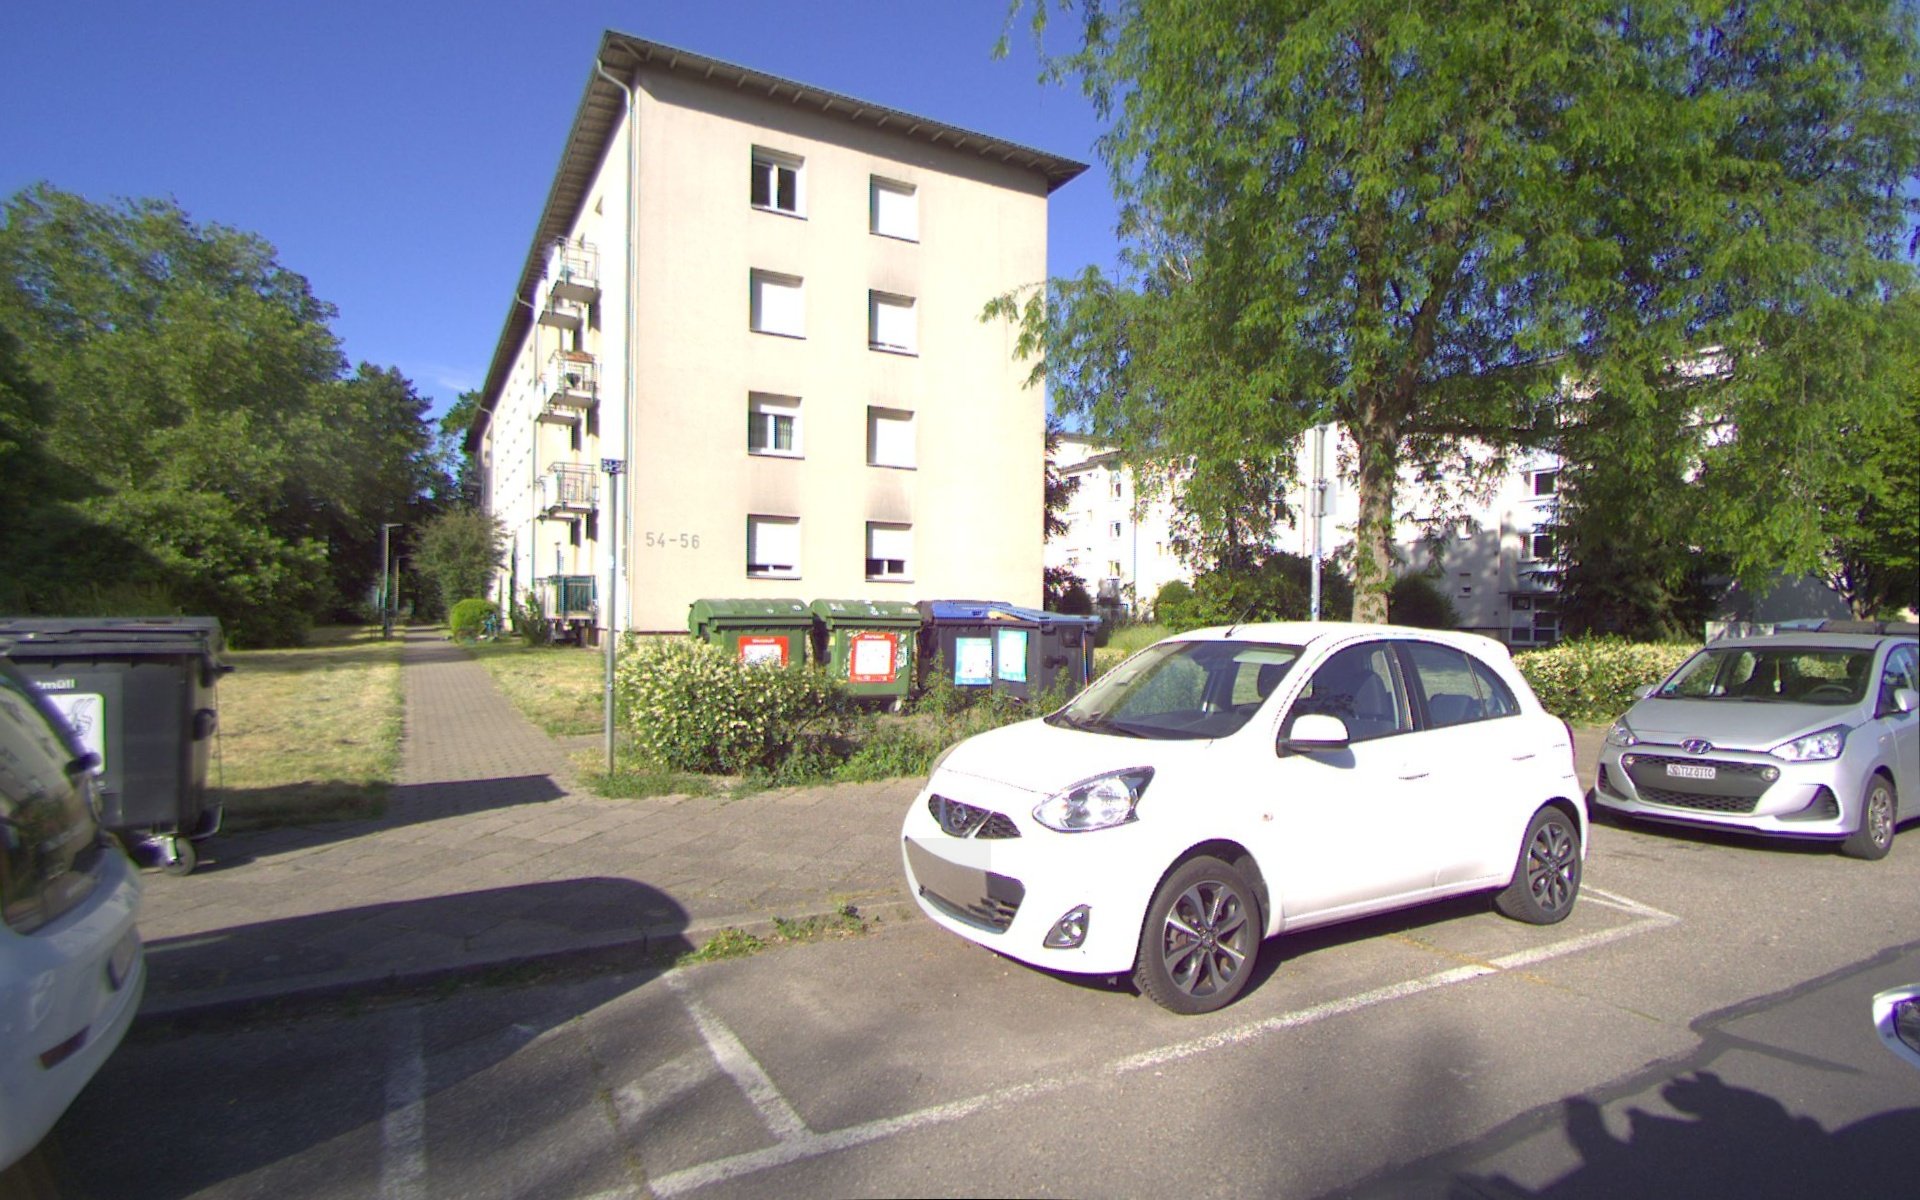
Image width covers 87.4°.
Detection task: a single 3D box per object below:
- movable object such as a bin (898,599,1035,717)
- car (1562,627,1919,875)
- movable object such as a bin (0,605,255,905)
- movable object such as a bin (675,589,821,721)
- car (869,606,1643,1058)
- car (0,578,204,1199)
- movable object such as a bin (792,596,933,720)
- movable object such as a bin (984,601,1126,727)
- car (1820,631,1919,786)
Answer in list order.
[{"bbox_3d":[0.074,0.738,13.511,1.444,1.440,1.173,1,2,-27],"label":"movable object such as a bin"},{"bbox_3d":[6.649,0.989,7.975,3.774,1.525,1.678,1,-1,-32],"label":"car"},{"bbox_3d":[-4.633,0.737,5.312,1.326,1.358,1.172,1,2,-28],"label":"movable object such as a bin"},{"bbox_3d":[-2.561,0.618,12.065,1.444,1.440,1.173,1,2,-27],"label":"movable object such as a bin"},{"bbox_3d":[1.622,0.849,5.182,3.845,1.555,1.678,1,-2,-31],"label":"car"},{"bbox_3d":[-3.723,0.708,1.969,3.504,1.533,1.651,1,-2,-36],"label":"car"},{"bbox_3d":[-1.257,0.702,12.817,1.444,1.440,1.173,1,2,-27],"label":"movable object such as a bin"},{"bbox_3d":[1.183,0.766,12.667,1.344,1.440,1.129,1,2,-28],"label":"movable object such as a bin"},{"bbox_3d":[11.195,1.074,10.717,4.472,1.484,1.679,1,-3,-30],"label":"car"}]
